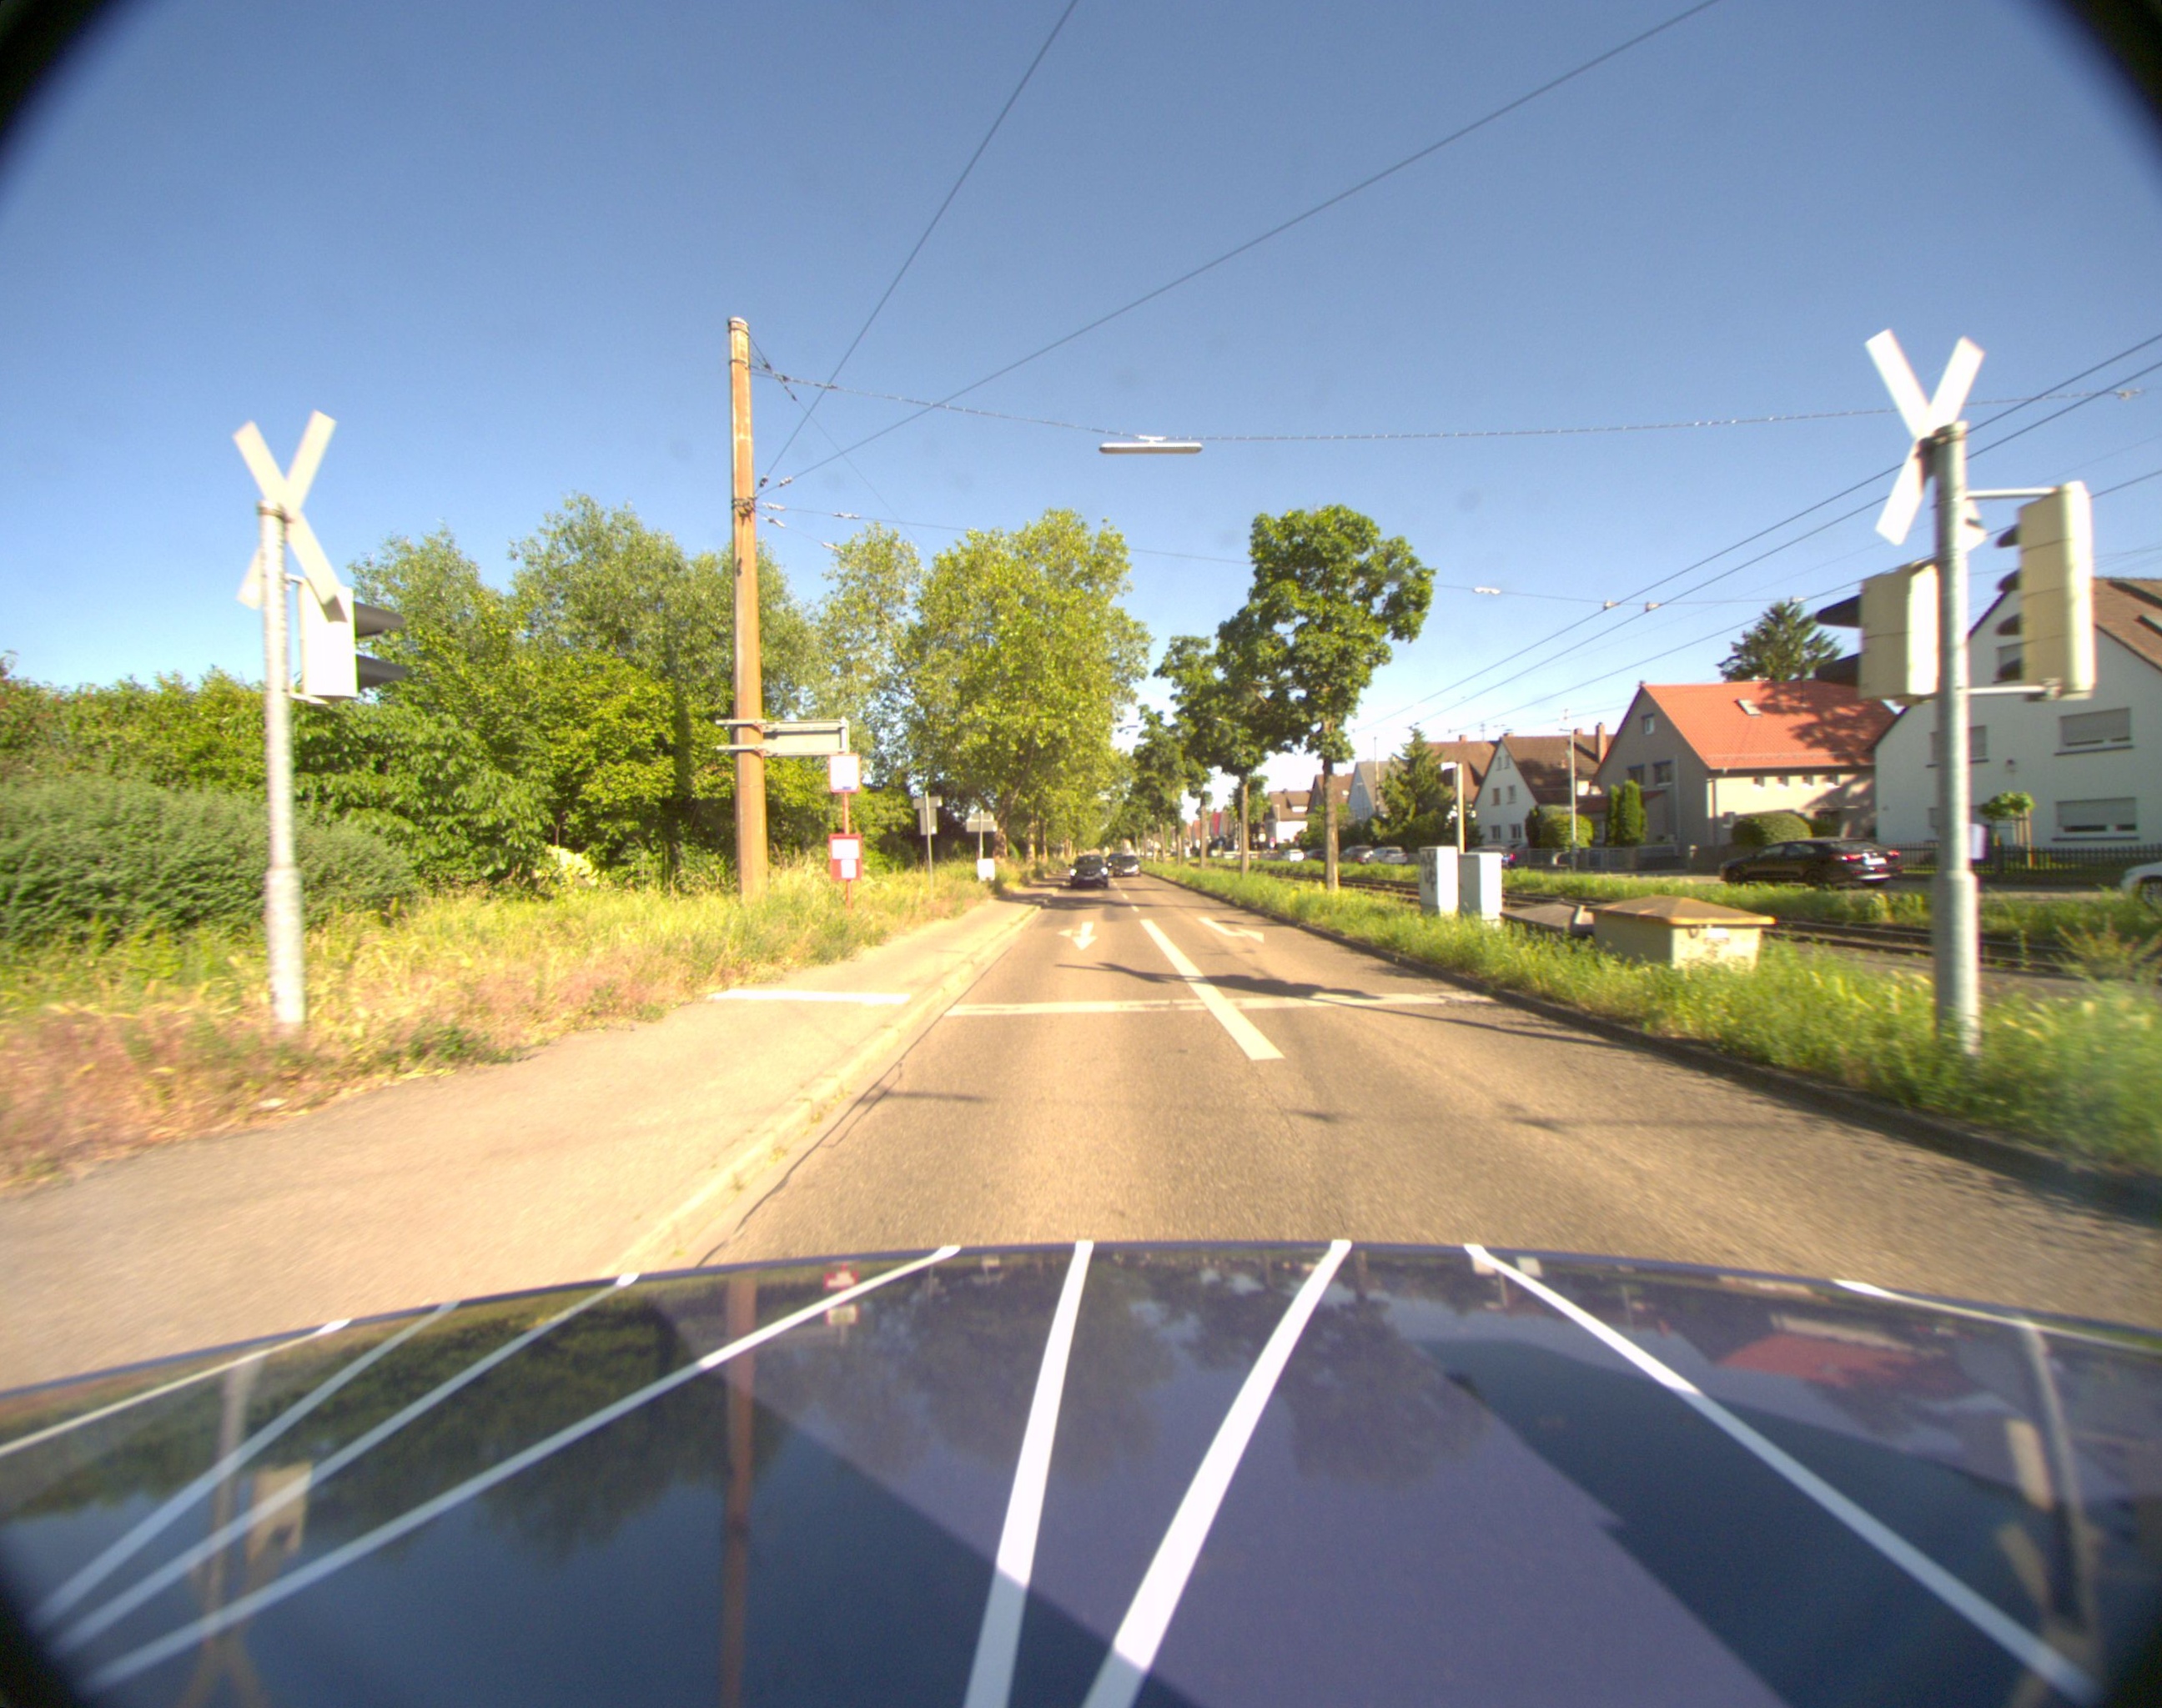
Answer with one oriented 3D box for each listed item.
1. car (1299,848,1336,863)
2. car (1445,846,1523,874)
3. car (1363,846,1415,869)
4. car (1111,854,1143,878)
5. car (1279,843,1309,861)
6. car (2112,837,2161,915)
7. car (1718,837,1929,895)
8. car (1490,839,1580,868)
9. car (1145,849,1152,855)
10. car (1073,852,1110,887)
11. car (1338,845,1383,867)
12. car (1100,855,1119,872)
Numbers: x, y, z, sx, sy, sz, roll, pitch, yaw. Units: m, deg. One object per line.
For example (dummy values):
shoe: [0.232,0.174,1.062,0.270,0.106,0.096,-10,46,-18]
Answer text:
car: [22.486,0.128,72.338,1.998,1.333,4.982,-3,1,1]
car: [21.868,0.293,41.427,1.998,1.363,4.310,-2,0,2]
car: [22.449,0.241,55.584,1.888,1.464,4.839,-3,0,2]
car: [3.051,0.777,51.210,1.780,1.441,4.333,-2,0,-1]
car: [22.740,-0.226,81.185,1.998,1.852,4.584,-2,0,1]
car: [21.638,0.409,12.927,1.888,1.464,4.613,-3,1,0]
car: [21.685,0.293,22.496,1.912,1.457,4.440,-3,1,1]
car: [28.014,-0.052,46.983,4.488,1.462,1.747,-4,1,-1]
car: [20.995,-0.599,236.318,1.731,1.581,4.000,-2,0,0]
car: [0.487,0.714,36.947,1.673,1.529,3.586,-2,0,0]
car: [22.245,0.164,60.640,1.888,1.552,4.537,-3,0,1]
car: [2.784,0.896,74.437,1.779,1.620,4.288,-1,0,1]
